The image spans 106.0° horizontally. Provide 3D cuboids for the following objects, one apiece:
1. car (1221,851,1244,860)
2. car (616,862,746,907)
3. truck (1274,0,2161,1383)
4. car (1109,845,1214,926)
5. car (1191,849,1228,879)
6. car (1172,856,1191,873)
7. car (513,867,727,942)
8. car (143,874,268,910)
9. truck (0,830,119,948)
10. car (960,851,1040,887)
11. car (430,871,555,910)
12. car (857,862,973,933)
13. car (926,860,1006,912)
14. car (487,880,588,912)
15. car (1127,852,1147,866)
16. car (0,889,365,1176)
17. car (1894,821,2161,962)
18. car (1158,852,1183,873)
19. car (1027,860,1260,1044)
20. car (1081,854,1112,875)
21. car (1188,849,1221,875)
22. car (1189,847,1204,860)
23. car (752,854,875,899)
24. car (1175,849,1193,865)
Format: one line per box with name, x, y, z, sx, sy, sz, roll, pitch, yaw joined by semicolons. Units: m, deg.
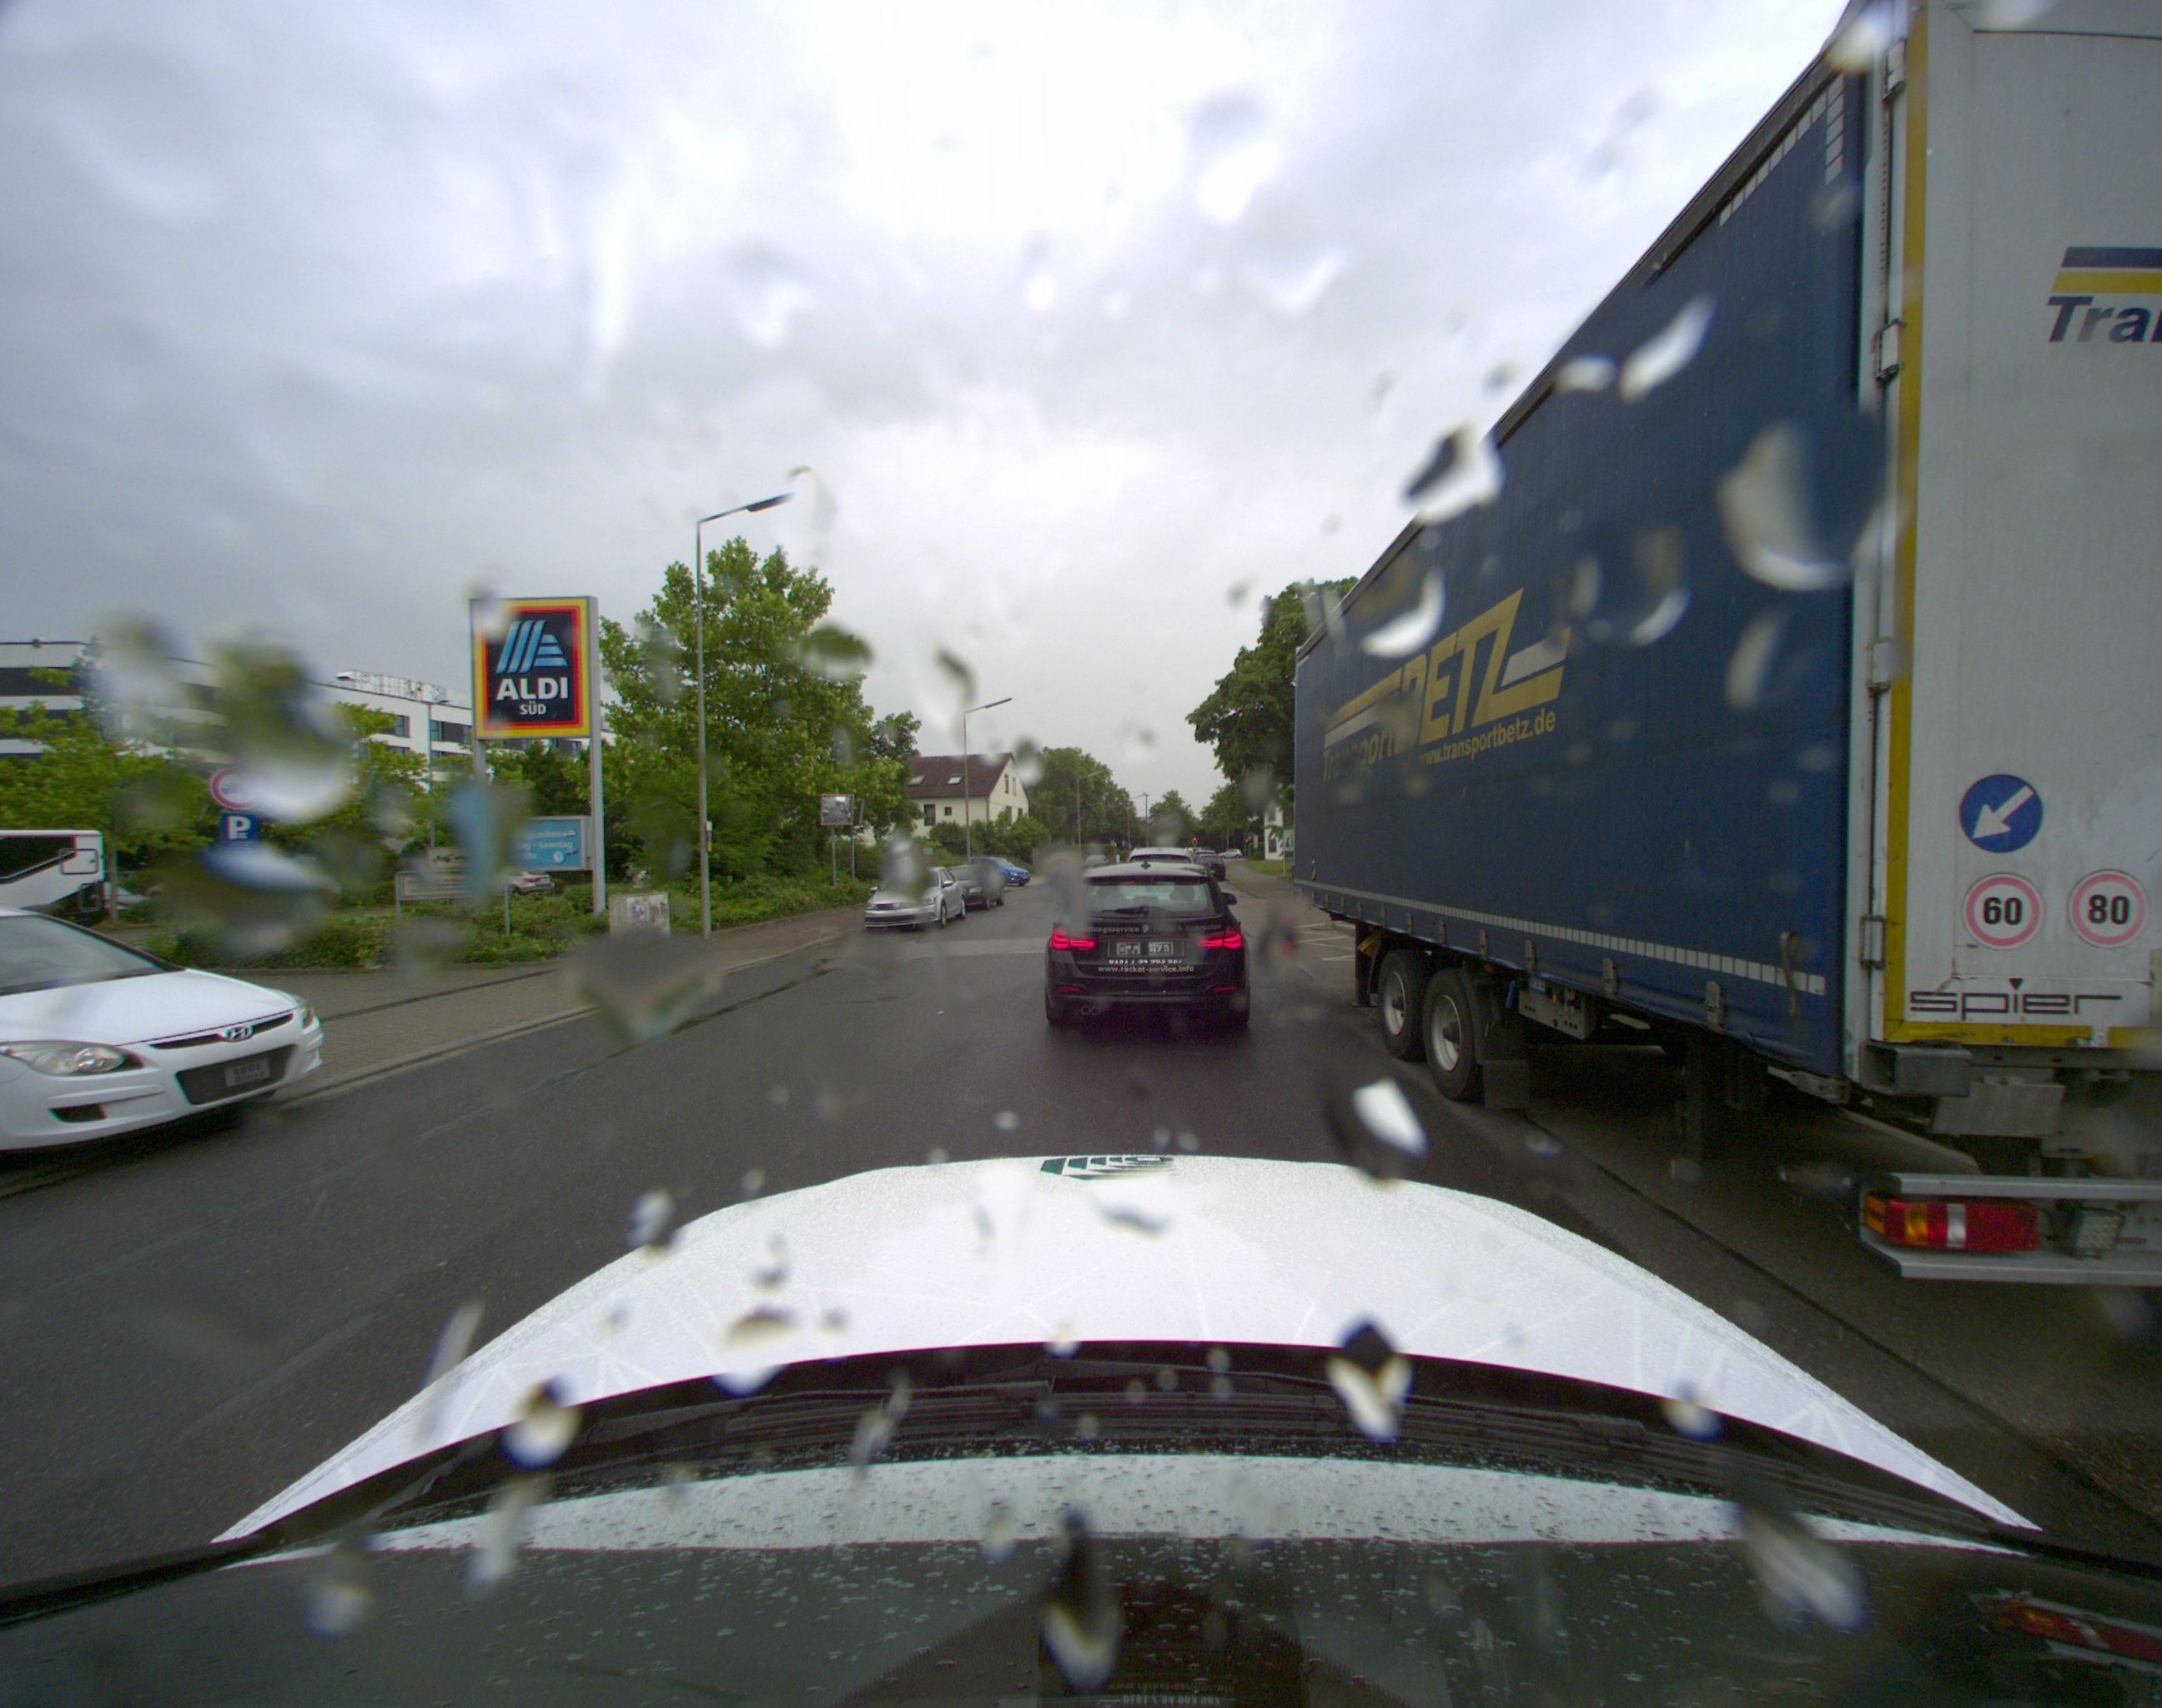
car;26.120;0.264;140.551;3.807;1.413;1.713;-4;0;5
car;-15.151;1.141;30.995;3.973;1.540;1.911;-1;0;0
truck;3.509;-0.538;5.786;2.730;3.611;7.755;1;0;2
car;1.661;0.635;18.070;1.800;1.586;3.996;-1;-1;-2
car;7.218;0.568;46.015;1.795;1.586;4.006;-1;-1;5
car;9.836;1.039;79.638;1.794;1.586;4.008;-1;-1;8
car;-9.746;1.042;17.401;3.557;1.460;1.713;0;0;1
car;-42.744;1.839;39.829;3.972;1.529;2.001;-2;0;1
truck;-25.316;0.805;17.372;1.988;2.657;6.394;-1;0;-1
car;-4.253;0.790;42.602;3.789;1.594;1.722;-4;0;29
car;-25.683;1.566;35.641;3.972;1.499;2.001;-2;0;1
car;-3.899;0.962;19.924;1.699;1.367;4.603;-4;0;2
car;-3.522;0.954;25.611;1.698;1.367;3.841;-4;0;3
car;-28.596;2.194;42.940;3.972;1.529;2.001;-2;0;1
car;6.485;0.545;93.915;1.695;1.367;3.849;-4;0;10
car;-7.421;1.015;5.125;4.181;1.460;1.710;-1;0;-4
car;11.405;0.369;8.648;3.732;1.396;1.738;2;2;40
car;6.972;0.641;63.386;1.794;1.586;4.008;-1;-1;8
car;0.421;0.767;8.302;1.800;1.395;3.996;-1;-1;-2
car;1.239;0.790;62.241;1.695;1.367;3.849;-4;0;10
car;7.768;0.511;51.557;1.795;1.586;4.006;-1;-1;5
car;14.809;-0.029;104.801;1.794;1.586;4.008;-1;0;7
car;-10.030;0.818;30.749;3.973;1.540;1.911;-1;0;0
car;11.002;0.284;86.855;1.794;1.586;4.008;-1;0;7
